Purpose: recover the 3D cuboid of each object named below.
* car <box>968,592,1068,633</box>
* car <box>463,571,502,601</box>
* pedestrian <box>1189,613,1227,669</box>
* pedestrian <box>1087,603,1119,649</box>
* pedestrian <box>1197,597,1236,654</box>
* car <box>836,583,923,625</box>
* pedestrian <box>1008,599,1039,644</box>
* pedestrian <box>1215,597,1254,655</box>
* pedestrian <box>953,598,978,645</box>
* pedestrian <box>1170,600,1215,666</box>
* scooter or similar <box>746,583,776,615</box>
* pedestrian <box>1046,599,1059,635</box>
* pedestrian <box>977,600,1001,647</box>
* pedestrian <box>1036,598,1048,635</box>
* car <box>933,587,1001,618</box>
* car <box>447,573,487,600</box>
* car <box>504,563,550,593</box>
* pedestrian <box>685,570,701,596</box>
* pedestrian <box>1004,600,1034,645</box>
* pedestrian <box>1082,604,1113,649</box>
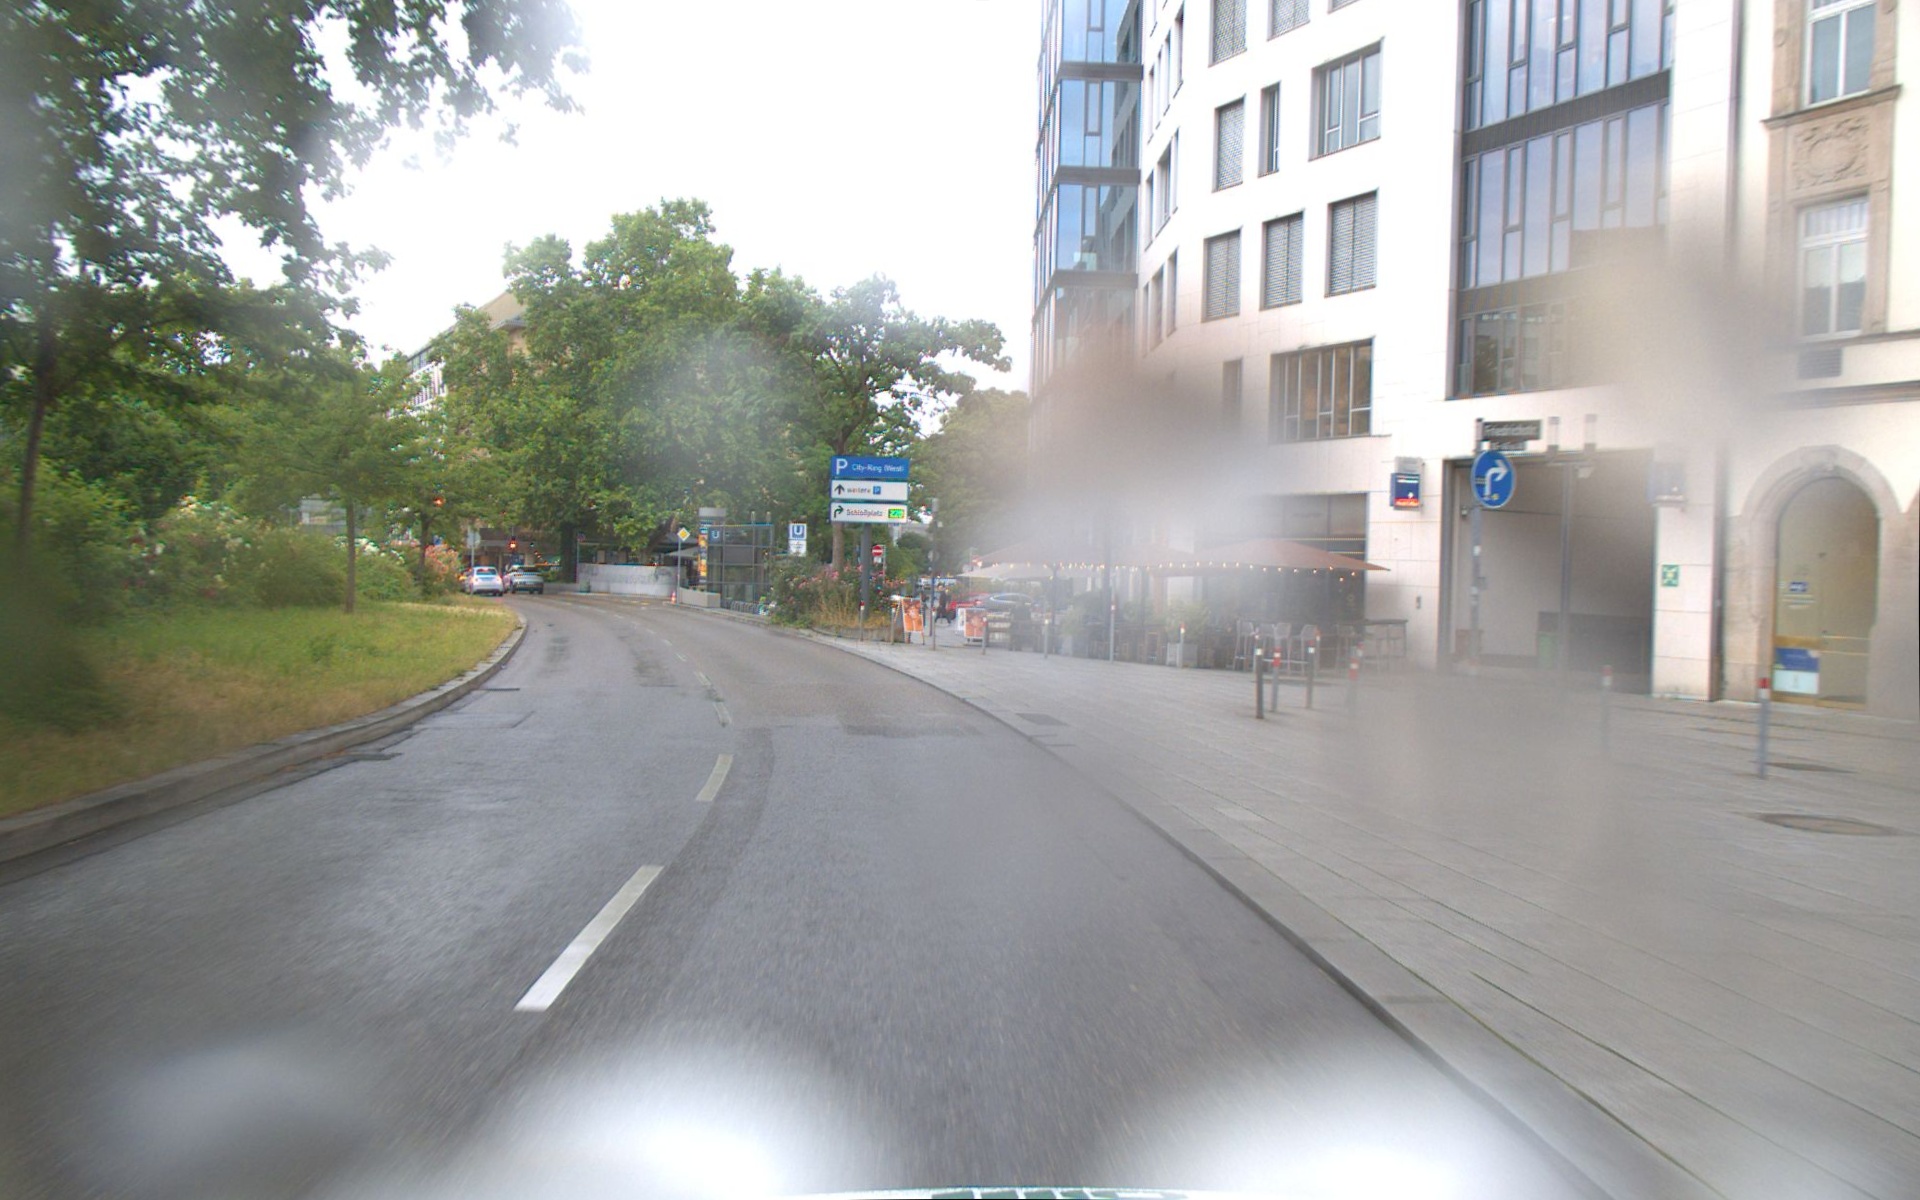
[{"bbox_3d":[2.775,0.569,79.886,4.639,1.720,2.004,3,1,-1],"label":"car"},{"bbox_3d":[-25.311,-0.763,87.621,1.569,1.517,3.479,-1,1,-24],"label":"car"},{"bbox_3d":[6.296,1.040,41.988,0.619,1.349,0.631,4,0,-25],"label":"pedestrian"},{"bbox_3d":[4.405,0.792,50.974,0.801,1.349,0.635,4,0,-5],"label":"pedestrian"},{"bbox_3d":[6.354,0.632,40.970,0.619,1.349,0.631,4,0,-25],"label":"pedestrian"},{"bbox_3d":[-3.920,0.211,79.804,4.018,1.649,1.861,5,-1,-5],"label":"car"},{"bbox_3d":[1.963,0.655,50.899,0.801,1.349,0.635,4,0,-5],"label":"pedestrian"},{"bbox_3d":[6.673,0.638,40.228,0.619,1.349,0.631,4,0,-25],"label":"pedestrian"},{"bbox_3d":[0.164,0.637,48.945,0.594,1.349,0.567,4,0,-5],"label":"pedestrian"},{"bbox_3d":[5.013,0.704,35.624,0.759,1.349,0.635,4,0,-5],"label":"pedestrian"},{"bbox_3d":[-7.787,-0.038,64.701,1.096,1.178,0.441,2,0,-19],"label":"scooter or similar"},{"bbox_3d":[3.632,0.660,64.878,0.426,1.428,0.478,1,0,-2],"label":"pedestrian"},{"bbox_3d":[0.852,0.690,49.022,0.594,1.349,0.567,4,0,-5],"label":"pedestrian"},{"bbox_3d":[3.199,0.653,64.472,0.426,1.428,0.478,1,0,-2],"label":"pedestrian"},{"bbox_3d":[0.366,0.114,87.602,1.602,1.440,3.472,3,0,-44],"label":"car"},{"bbox_3d":[-28.000,-0.787,93.827,1.669,1.488,4.100,-1,1,-24],"label":"car"},{"bbox_3d":[-25.324,-1.271,96.601,1.921,1.695,4.313,2,0,-24],"label":"car"},{"bbox_3d":[-15.043,-0.972,93.179,0.674,1.434,0.900,4,-1,-19],"label":"pedestrian"},{"bbox_3d":[1.847,0.708,51.669,0.801,1.349,0.635,4,0,-5],"label":"pedestrian"},{"bbox_3d":[4.294,0.816,51.756,0.801,1.349,0.635,4,0,-5],"label":"pedestrian"}]
